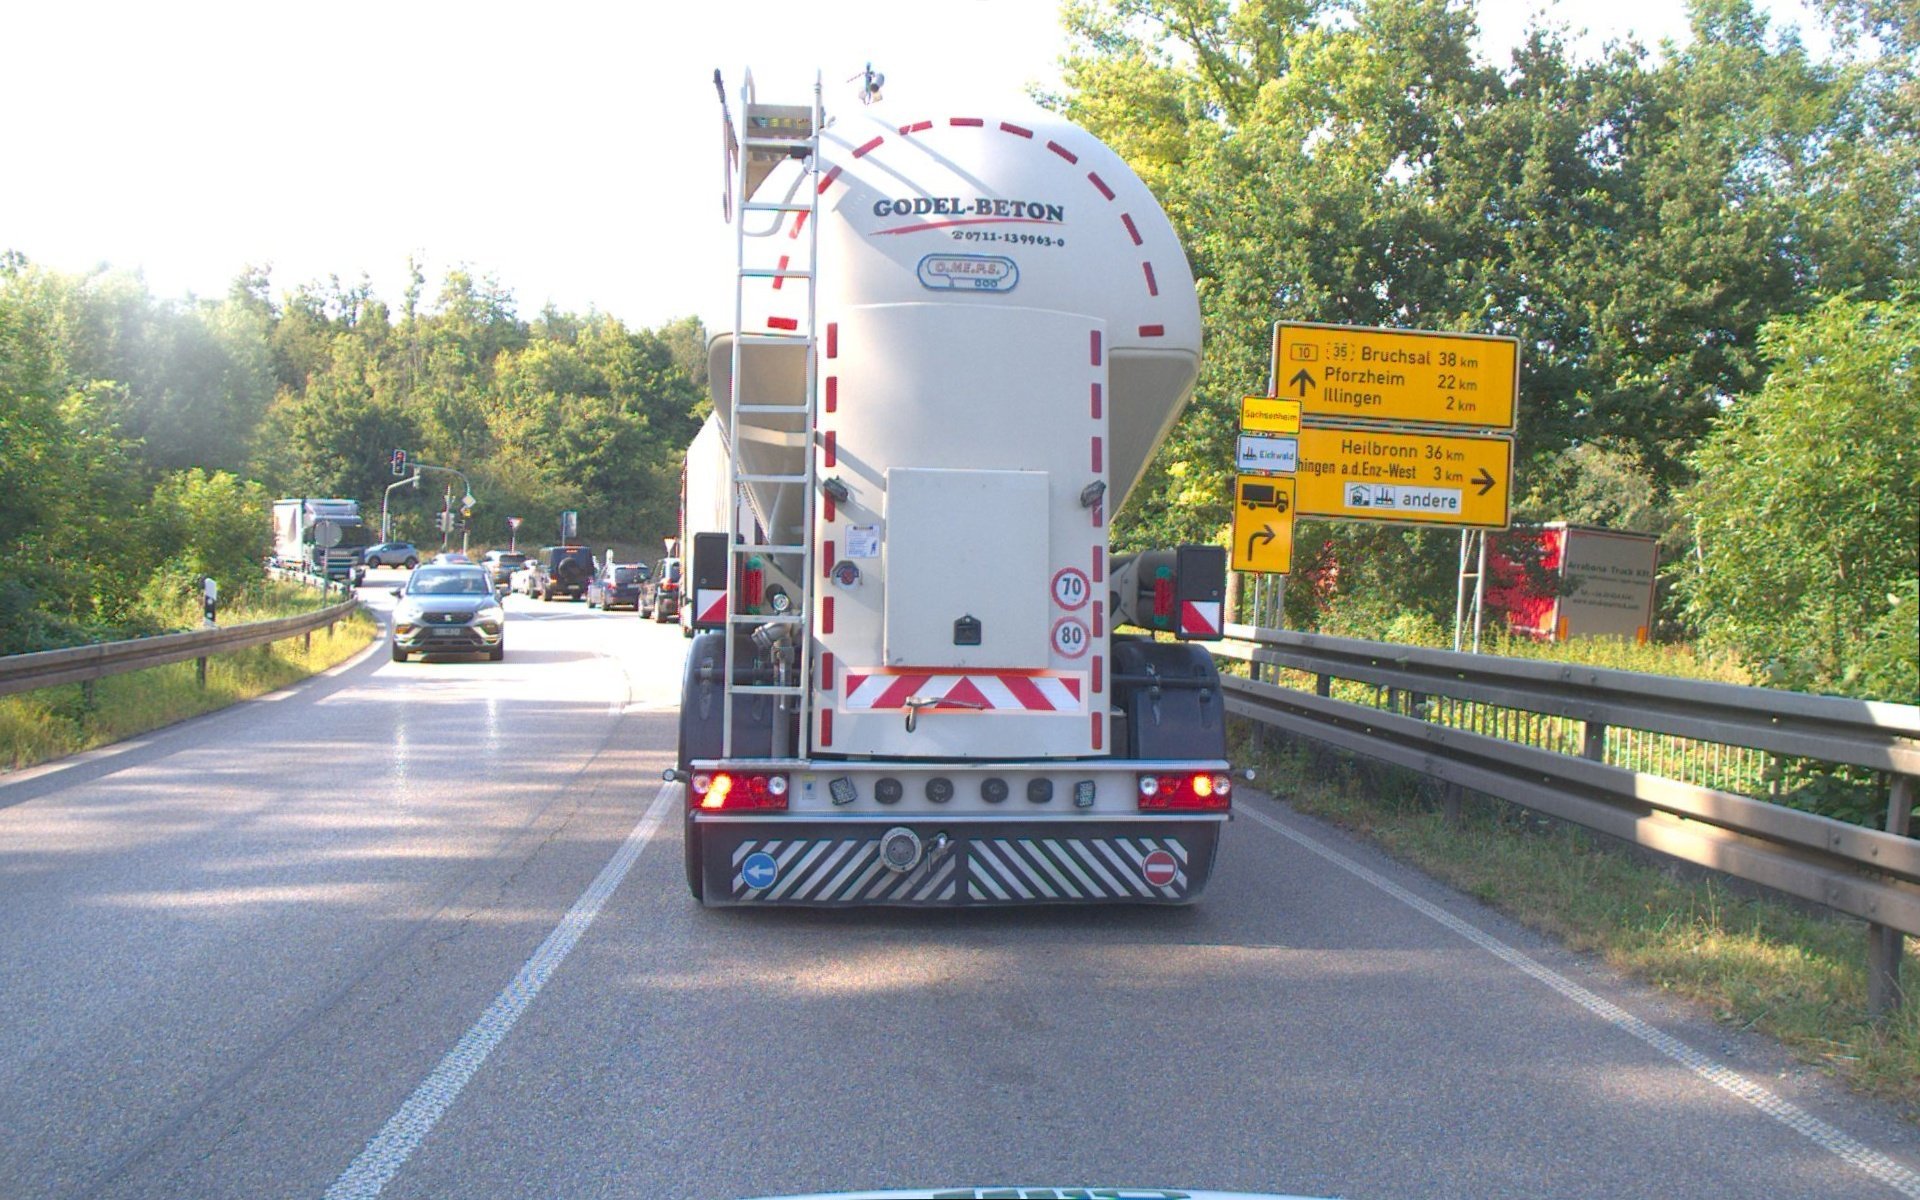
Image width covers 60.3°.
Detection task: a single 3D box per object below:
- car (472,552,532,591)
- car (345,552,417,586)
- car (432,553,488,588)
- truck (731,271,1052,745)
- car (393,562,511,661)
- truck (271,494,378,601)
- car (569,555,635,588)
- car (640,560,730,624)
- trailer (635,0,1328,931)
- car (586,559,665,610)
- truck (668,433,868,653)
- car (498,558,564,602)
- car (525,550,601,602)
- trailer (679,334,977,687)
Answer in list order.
[{"bbox_3d":[-20.829,-1.324,75.118,1.846,1.622,3.965,3,0,-27],"label":"car"},{"bbox_3d":[-36.386,-1.942,104.057,1.833,1.883,3.992,3,0,30],"label":"car"},{"bbox_3d":[-25.030,-1.470,82.712,1.847,1.592,3.961,3,0,-29],"label":"car"},{"bbox_3d":[-0.956,-0.809,17.483,2.771,4.105,5.885,1,0,-7],"label":"truck"},{"bbox_3d":[-8.806,0.147,28.900,1.837,1.592,3.984,0,1,-15],"label":"car"},{"bbox_3d":[-30.253,-2.412,78.420,2.981,4.665,10.135,1,0,-31],"label":"truck"},{"bbox_3d":[-25.098,-1.980,115.988,3.963,2.048,1.971,3,0,-41],"label":"car"},{"bbox_3d":[-7.573,-0.263,45.228,1.839,1.656,3.979,0,1,-19],"label":"car"},{"bbox_3d":[-0.330,-0.933,11.651,2.831,4.532,9.594,1,0,-6],"label":"trailer"},{"bbox_3d":[-10.886,-0.533,53.641,1.841,1.592,3.974,0,1,-21],"label":"car"},{"bbox_3d":[-4.285,-1.116,35.462,3.391,4.157,6.468,2,0,-14],"label":"truck"},{"bbox_3d":[-18.153,-0.866,69.883,1.846,1.712,3.965,3,0,-27],"label":"car"},{"bbox_3d":[-14.972,-0.933,62.240,1.933,1.883,3.966,-1,2,-26],"label":"car"},{"bbox_3d":[-2.815,-1.227,28.546,3.483,4.591,12.947,2,0,-11],"label":"trailer"}]
